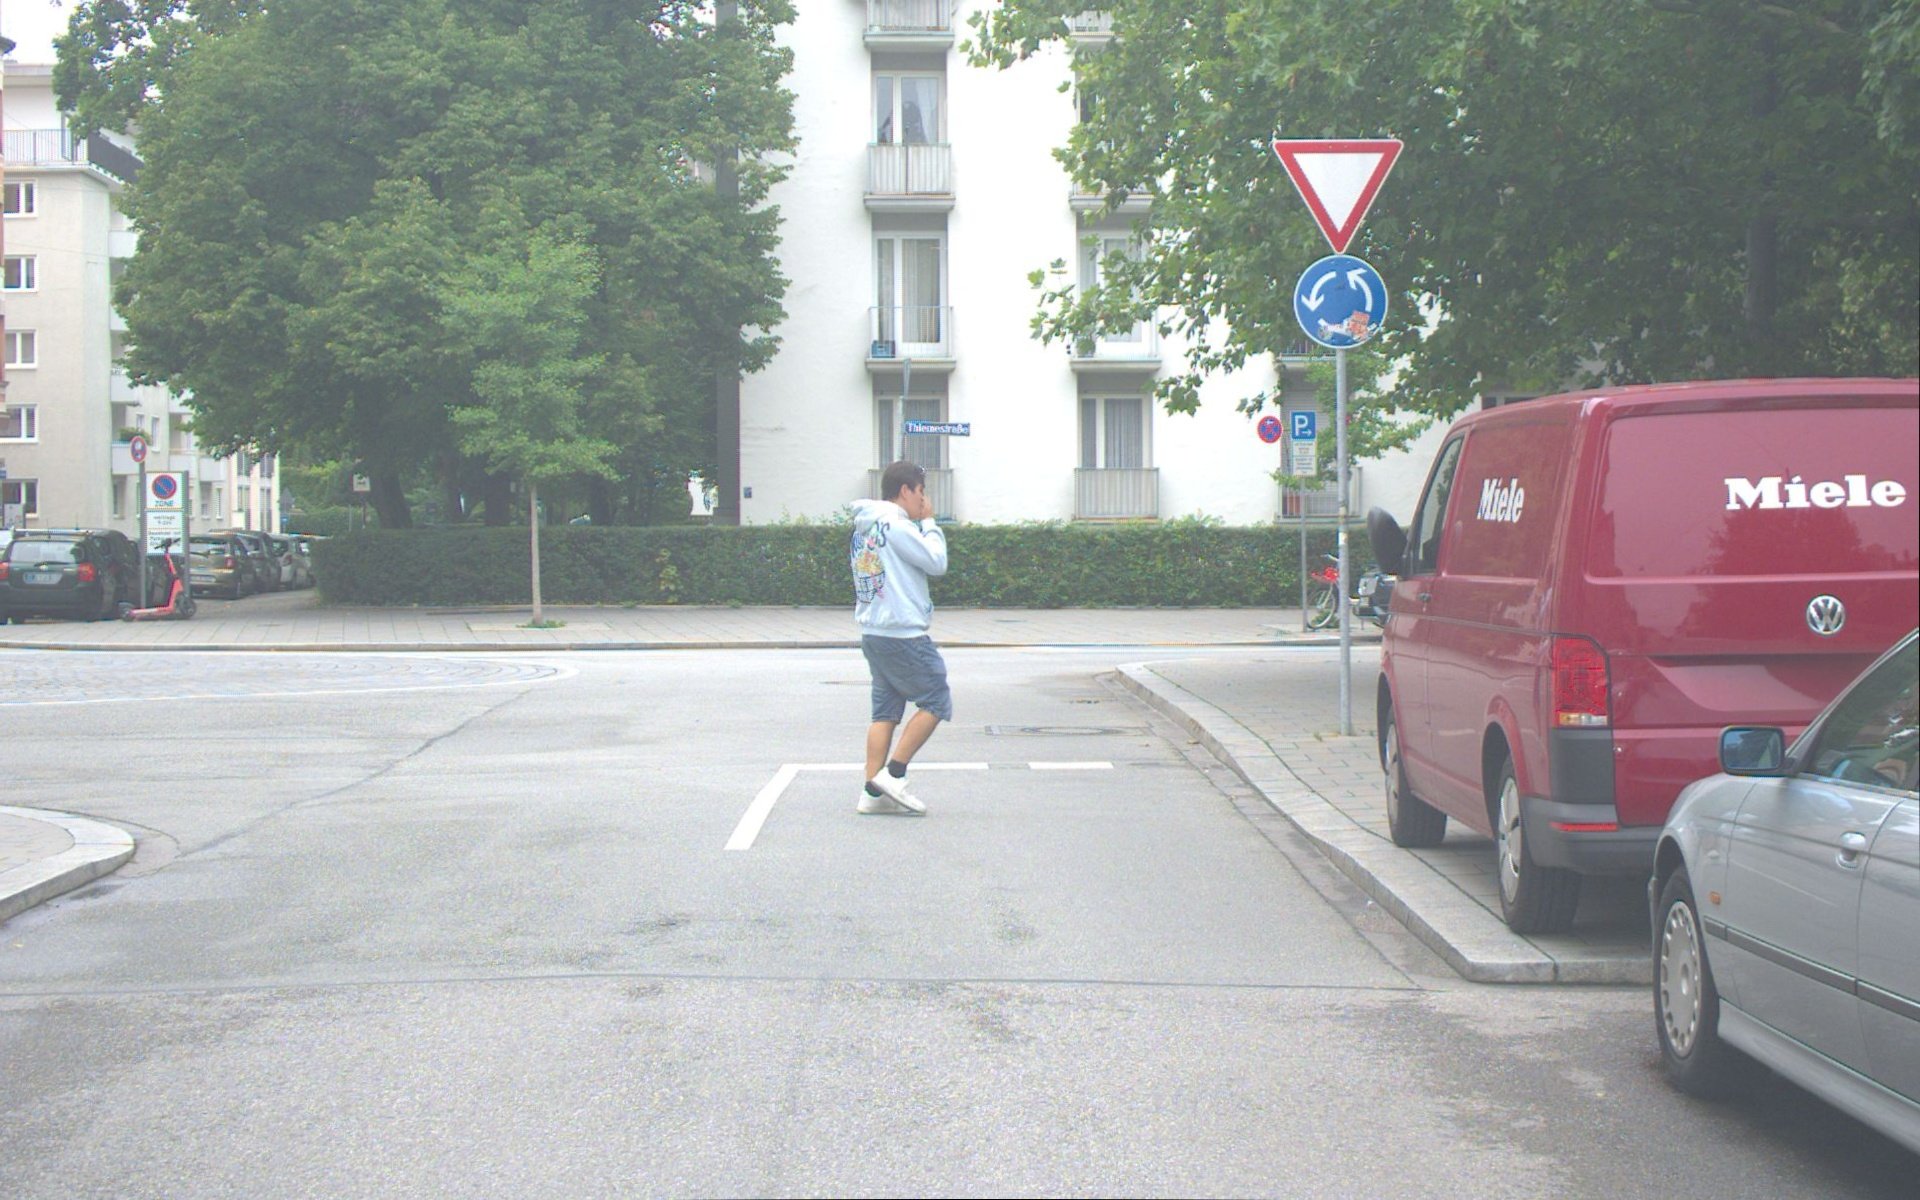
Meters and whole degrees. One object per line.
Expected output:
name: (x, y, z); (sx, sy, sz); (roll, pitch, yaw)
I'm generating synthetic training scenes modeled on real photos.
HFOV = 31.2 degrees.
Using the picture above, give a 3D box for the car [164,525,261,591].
car: (-17.830, -1.023, 82.165); (1.835, 1.500, 4.116); (-2, 2, -7)

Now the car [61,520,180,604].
car: (-15.930, -0.747, 65.361); (1.793, 1.500, 4.116); (-2, 2, -9)

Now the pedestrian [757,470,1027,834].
pedestrian: (-0.344, 0.237, 17.315); (1.048, 1.765, 0.876); (-1, 1, -33)

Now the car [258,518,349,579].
car: (-18.398, -1.459, 96.474); (1.835, 1.629, 3.820); (-1, 1, -1)

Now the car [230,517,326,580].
car: (-18.303, -1.404, 92.431); (1.835, 1.629, 3.820); (-1, 1, -1)

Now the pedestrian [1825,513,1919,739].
pedestrian: (5.811, 0.145, 20.734); (1.009, 1.333, 0.876); (0, 1, 3)

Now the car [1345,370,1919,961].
car: (2.802, 0.165, 13.701); (1.874, 1.914, 4.888); (1, 1, -1)

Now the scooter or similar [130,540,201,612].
scooter or similar: (-12.247, -0.374, 52.995); (0.999, 1.085, 0.390); (0, 1, -31)

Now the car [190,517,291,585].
car: (-18.129, -1.259, 86.765); (1.835, 1.629, 4.116); (-1, 1, -3)

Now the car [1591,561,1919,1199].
car: (2.928, 0.686, 7.977); (1.884, 1.443, 4.369); (1, 1, -3)

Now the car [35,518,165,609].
car: (-15.174, -0.671, 60.828); (1.793, 1.500, 4.236); (-2, 2, -9)

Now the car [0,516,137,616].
car: (-14.451, -0.577, 55.612); (1.818, 1.500, 4.424); (-2, 2, -9)

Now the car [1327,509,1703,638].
car: (7.842, -0.377, 48.806); (4.896, 1.786, 2.000); (0, 0, -8)

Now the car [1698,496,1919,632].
car: (13.310, -0.515, 49.695); (4.831, 1.912, 1.836); (0, 0, -9)

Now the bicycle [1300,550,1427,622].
bicycle: (6.007, -0.213, 51.156); (1.824, 1.045, 0.492); (-1, 1, -14)

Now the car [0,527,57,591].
car: (-24.581, -1.062, 87.833); (1.975, 1.575, 4.408); (0, 1, -2)
